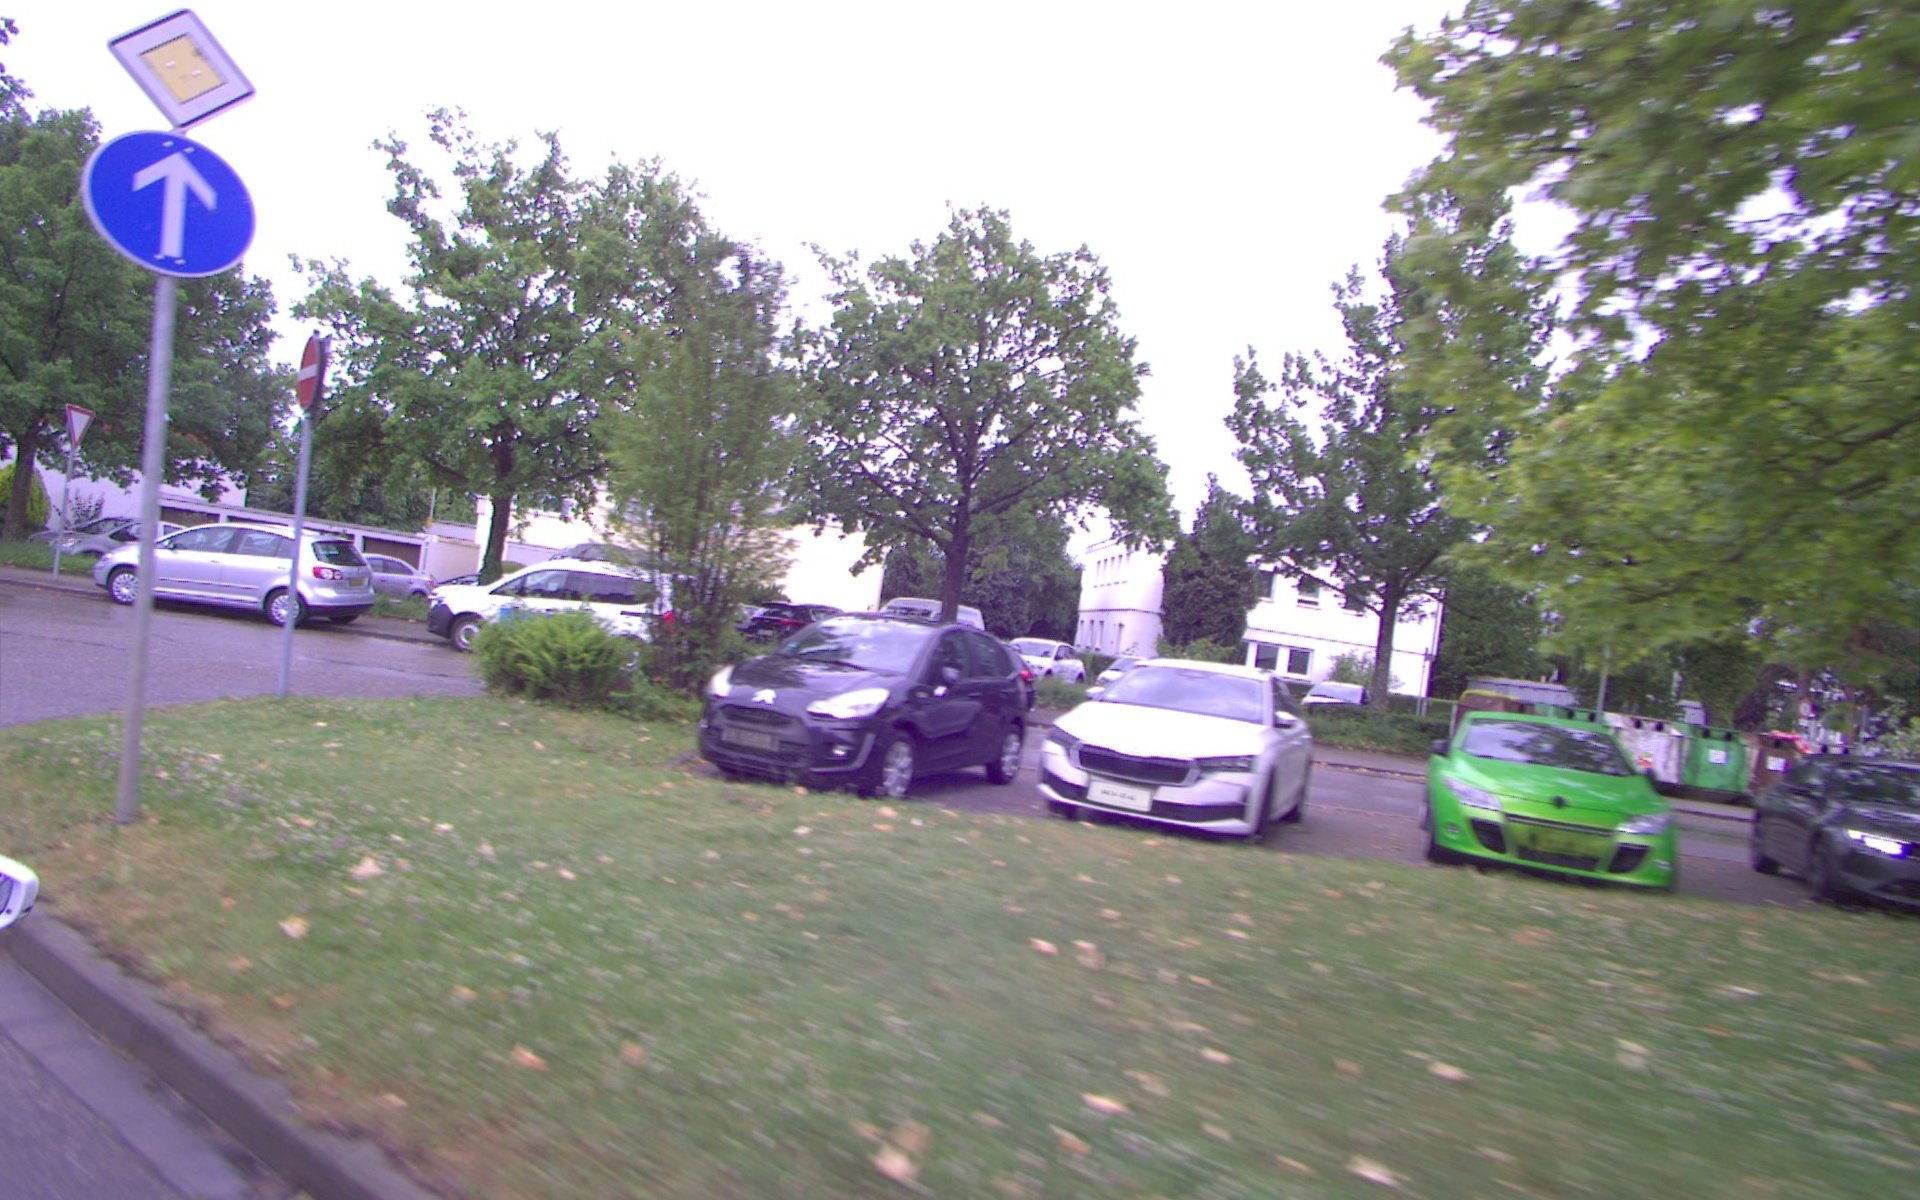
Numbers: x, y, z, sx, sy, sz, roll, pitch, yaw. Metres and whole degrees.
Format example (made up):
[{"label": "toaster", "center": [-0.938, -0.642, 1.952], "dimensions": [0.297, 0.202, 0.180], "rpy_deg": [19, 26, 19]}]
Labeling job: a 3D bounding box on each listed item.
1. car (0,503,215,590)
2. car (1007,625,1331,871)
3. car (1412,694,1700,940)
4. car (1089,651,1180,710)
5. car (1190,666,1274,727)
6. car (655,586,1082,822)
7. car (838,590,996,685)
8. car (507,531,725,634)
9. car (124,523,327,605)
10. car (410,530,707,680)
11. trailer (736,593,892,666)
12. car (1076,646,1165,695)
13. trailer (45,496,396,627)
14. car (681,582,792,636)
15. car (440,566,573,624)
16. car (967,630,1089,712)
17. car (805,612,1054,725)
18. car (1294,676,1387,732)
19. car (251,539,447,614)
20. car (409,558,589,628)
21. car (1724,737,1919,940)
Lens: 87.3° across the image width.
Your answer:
[{"label": "car", "center": [-20.732, -1.243, 24.538], "dimensions": [1.727, 1.503, 3.660], "rpy_deg": [7, -2, 20]}, {"label": "car", "center": [2.185, 1.168, 9.225], "dimensions": [1.733, 1.460, 4.585], "rpy_deg": [7, -1, 26]}, {"label": "car", "center": [5.313, 1.765, 9.425], "dimensions": [1.733, 1.460, 4.020], "rpy_deg": [7, -1, 26]}, {"label": "car", "center": [4.629, 2.115, 26.378], "dimensions": [1.556, 1.245, 3.300], "rpy_deg": [7, -2, 22]}, {"label": "car", "center": [7.042, 2.454, 25.840], "dimensions": [1.556, 1.245, 3.300], "rpy_deg": [7, -2, 22]}, {"label": "car", "center": [-0.499, 0.875, 9.382], "dimensions": [1.733, 1.460, 4.585], "rpy_deg": [7, -1, 26]}, {"label": "car", "center": [-0.971, 1.029, 26.122], "dimensions": [1.964, 2.038, 4.764], "rpy_deg": [7, -1, 24]}, {"label": "car", "center": [-8.763, -0.343, 26.384], "dimensions": [1.963, 2.038, 5.840], "rpy_deg": [7, -1, 21]}, {"label": "car", "center": [-18.226, -0.850, 25.162], "dimensions": [1.727, 1.503, 3.660], "rpy_deg": [7, -2, 19]}, {"label": "car", "center": [-6.794, 0.107, 17.379], "dimensions": [4.135, 1.903, 2.001], "rpy_deg": [8, -1, 1]}, {"label": "trailer", "center": [-3.673, 0.808, 25.959], "dimensions": [1.684, 1.454, 3.994], "rpy_deg": [7, -2, 32]}, {"label": "car", "center": [6.476, 2.845, 40.439], "dimensions": [1.674, 1.548, 3.636], "rpy_deg": [7, -2, 43]}, {"label": "trailer", "center": [-12.506, -0.598, 17.285], "dimensions": [4.346, 1.561, 2.000], "rpy_deg": [8, -1, -3]}, {"label": "car", "center": [-8.470, 0.375, 38.375], "dimensions": [3.757, 1.527, 1.693], "rpy_deg": [8, -1, -2]}, {"label": "car", "center": [-16.017, -0.150, 35.668], "dimensions": [3.757, 1.527, 1.693], "rpy_deg": [8, -1, -2]}, {"label": "car", "center": [1.893, 1.874, 26.633], "dimensions": [1.792, 1.795, 3.901], "rpy_deg": [7, -1, 24]}, {"label": "car", "center": [-0.560, 1.184, 17.978], "dimensions": [4.113, 1.399, 1.765], "rpy_deg": [8, -1, -4]}, {"label": "car", "center": [10.650, 2.922, 28.048], "dimensions": [1.560, 1.245, 3.291], "rpy_deg": [7, -2, 35]}, {"label": "car", "center": [-15.130, -0.518, 25.188], "dimensions": [1.701, 1.352, 4.047], "rpy_deg": [7, -2, 14]}, {"label": "car", "center": [-11.836, -0.119, 26.135], "dimensions": [1.817, 1.311, 4.002], "rpy_deg": [7, -2, 21]}, {"label": "car", "center": [9.147, 2.277, 9.847], "dimensions": [1.733, 1.387, 4.020], "rpy_deg": [7, -1, 26]}]
